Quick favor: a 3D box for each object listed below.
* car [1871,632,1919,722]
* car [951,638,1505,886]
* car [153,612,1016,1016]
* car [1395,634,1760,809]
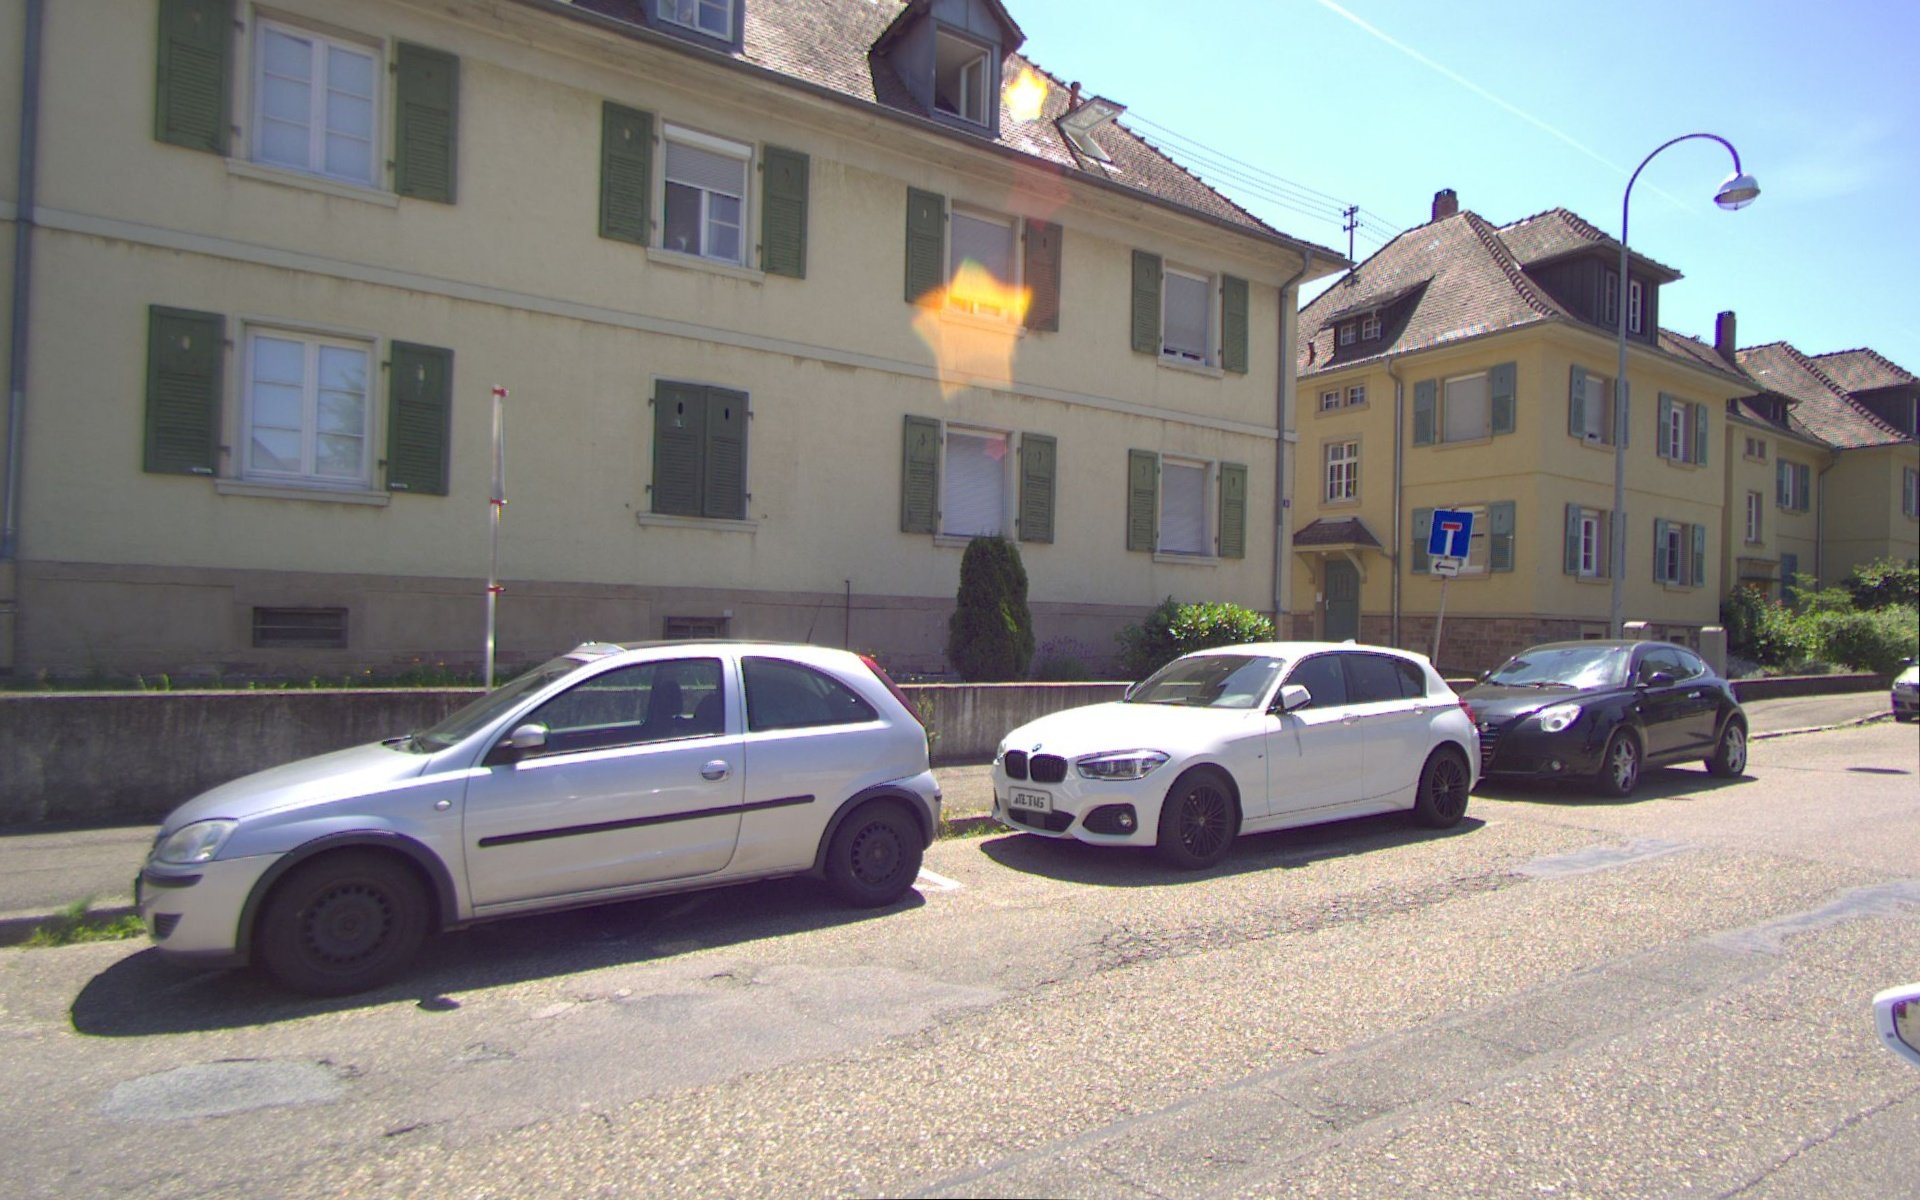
[{"bbox_3d":[18.266,1.354,18.138,4.018,1.545,1.677,1,-2,-32],"label":"car"},{"bbox_3d":[2.153,1.025,7.693,4.174,1.420,1.784,2,-3,-33],"label":"car"},{"bbox_3d":[-1.766,0.865,5.480,3.882,1.466,1.749,2,-3,-33],"label":"car"},{"bbox_3d":[6.533,1.144,10.521,4.033,1.504,1.706,2,-3,-33],"label":"car"}]
